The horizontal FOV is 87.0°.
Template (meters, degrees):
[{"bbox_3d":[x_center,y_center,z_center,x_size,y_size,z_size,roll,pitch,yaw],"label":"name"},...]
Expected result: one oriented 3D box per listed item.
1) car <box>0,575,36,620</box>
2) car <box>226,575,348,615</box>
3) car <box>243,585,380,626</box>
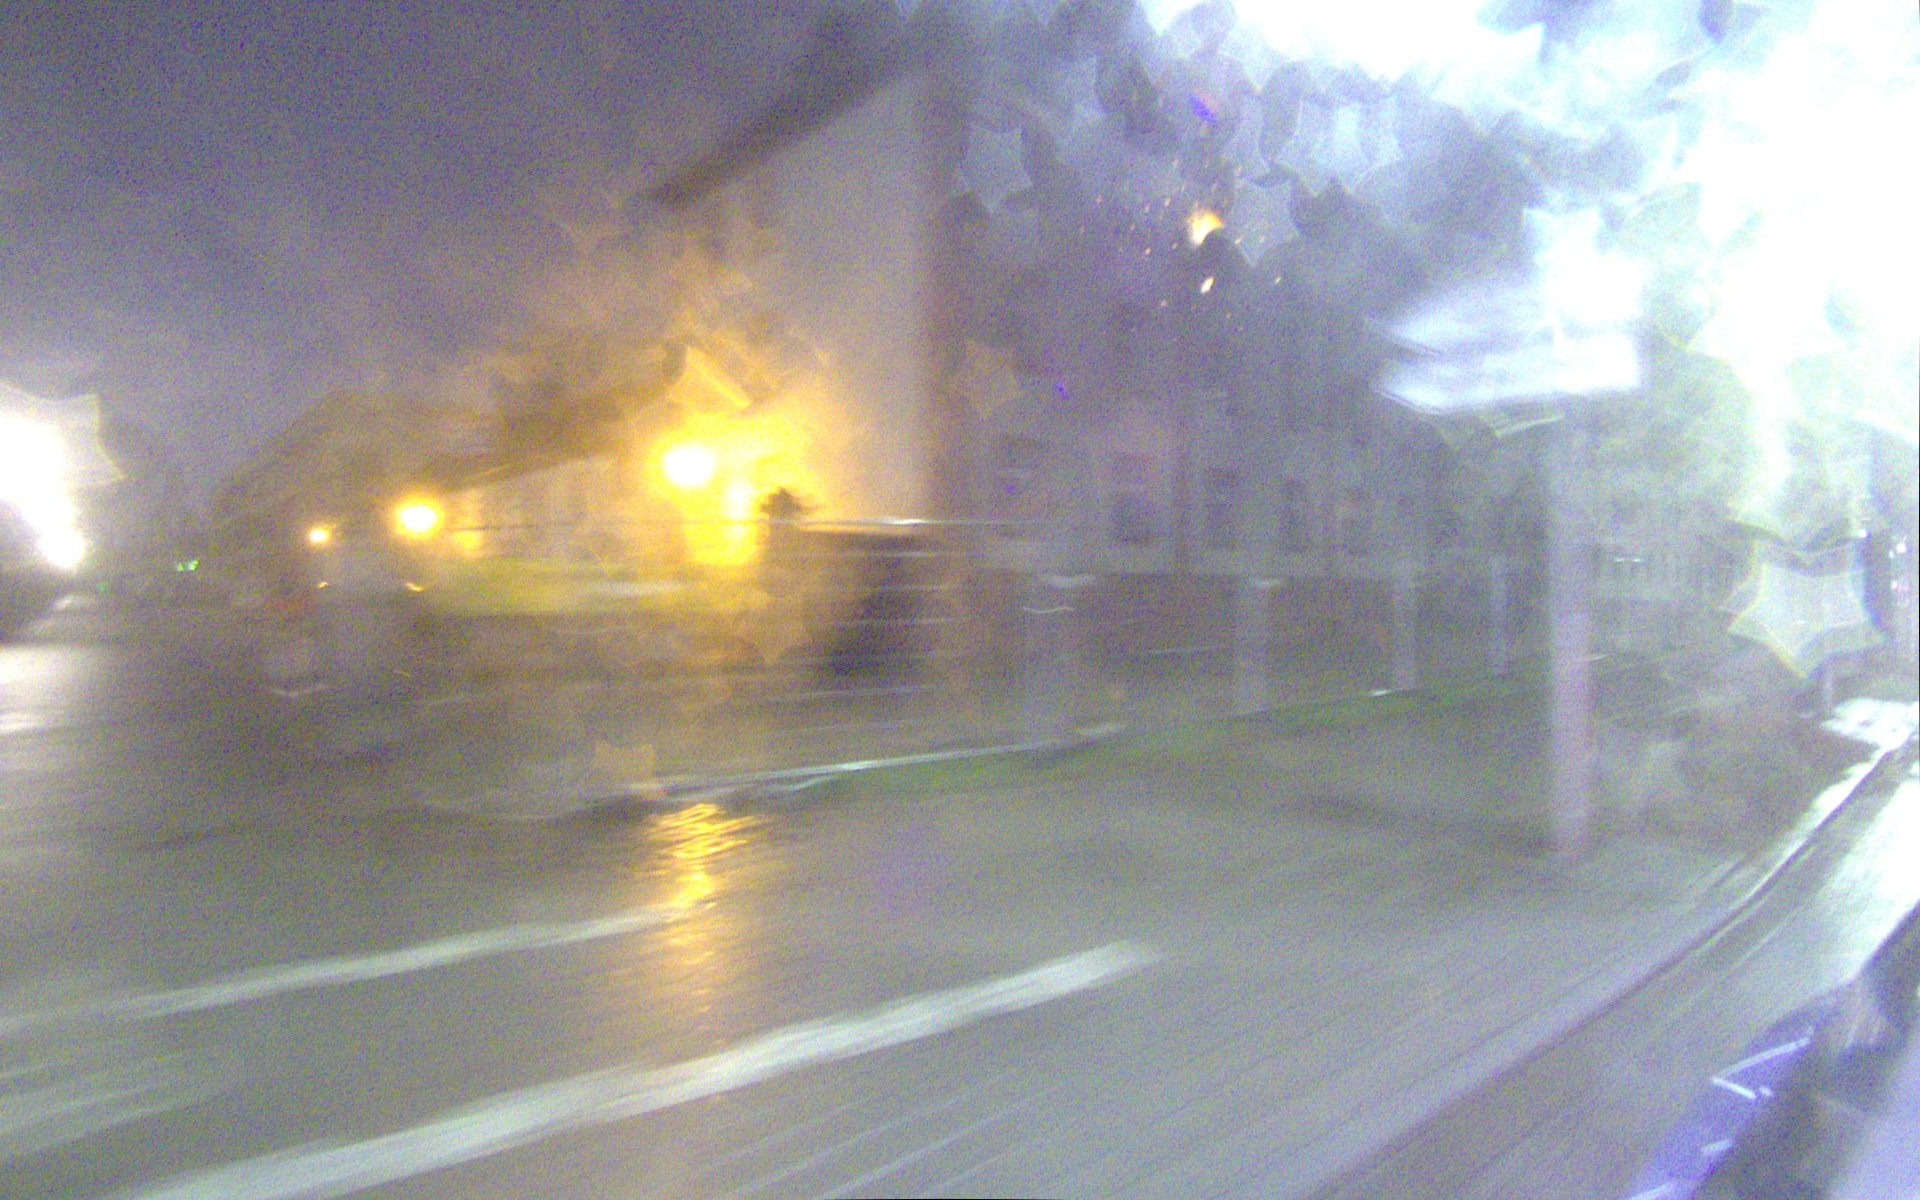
[{"bbox_3d":[-34.185,-0.094,34.636,3.726,1.528,1.752,-1,1,-41],"label":"car"},{"bbox_3d":[-30.566,-0.272,46.038,4.503,1.709,1.752,-1,1,-39],"label":"car"},{"bbox_3d":[-26.336,0.175,41.187,4.504,1.528,1.752,-1,2,-41],"label":"car"}]
